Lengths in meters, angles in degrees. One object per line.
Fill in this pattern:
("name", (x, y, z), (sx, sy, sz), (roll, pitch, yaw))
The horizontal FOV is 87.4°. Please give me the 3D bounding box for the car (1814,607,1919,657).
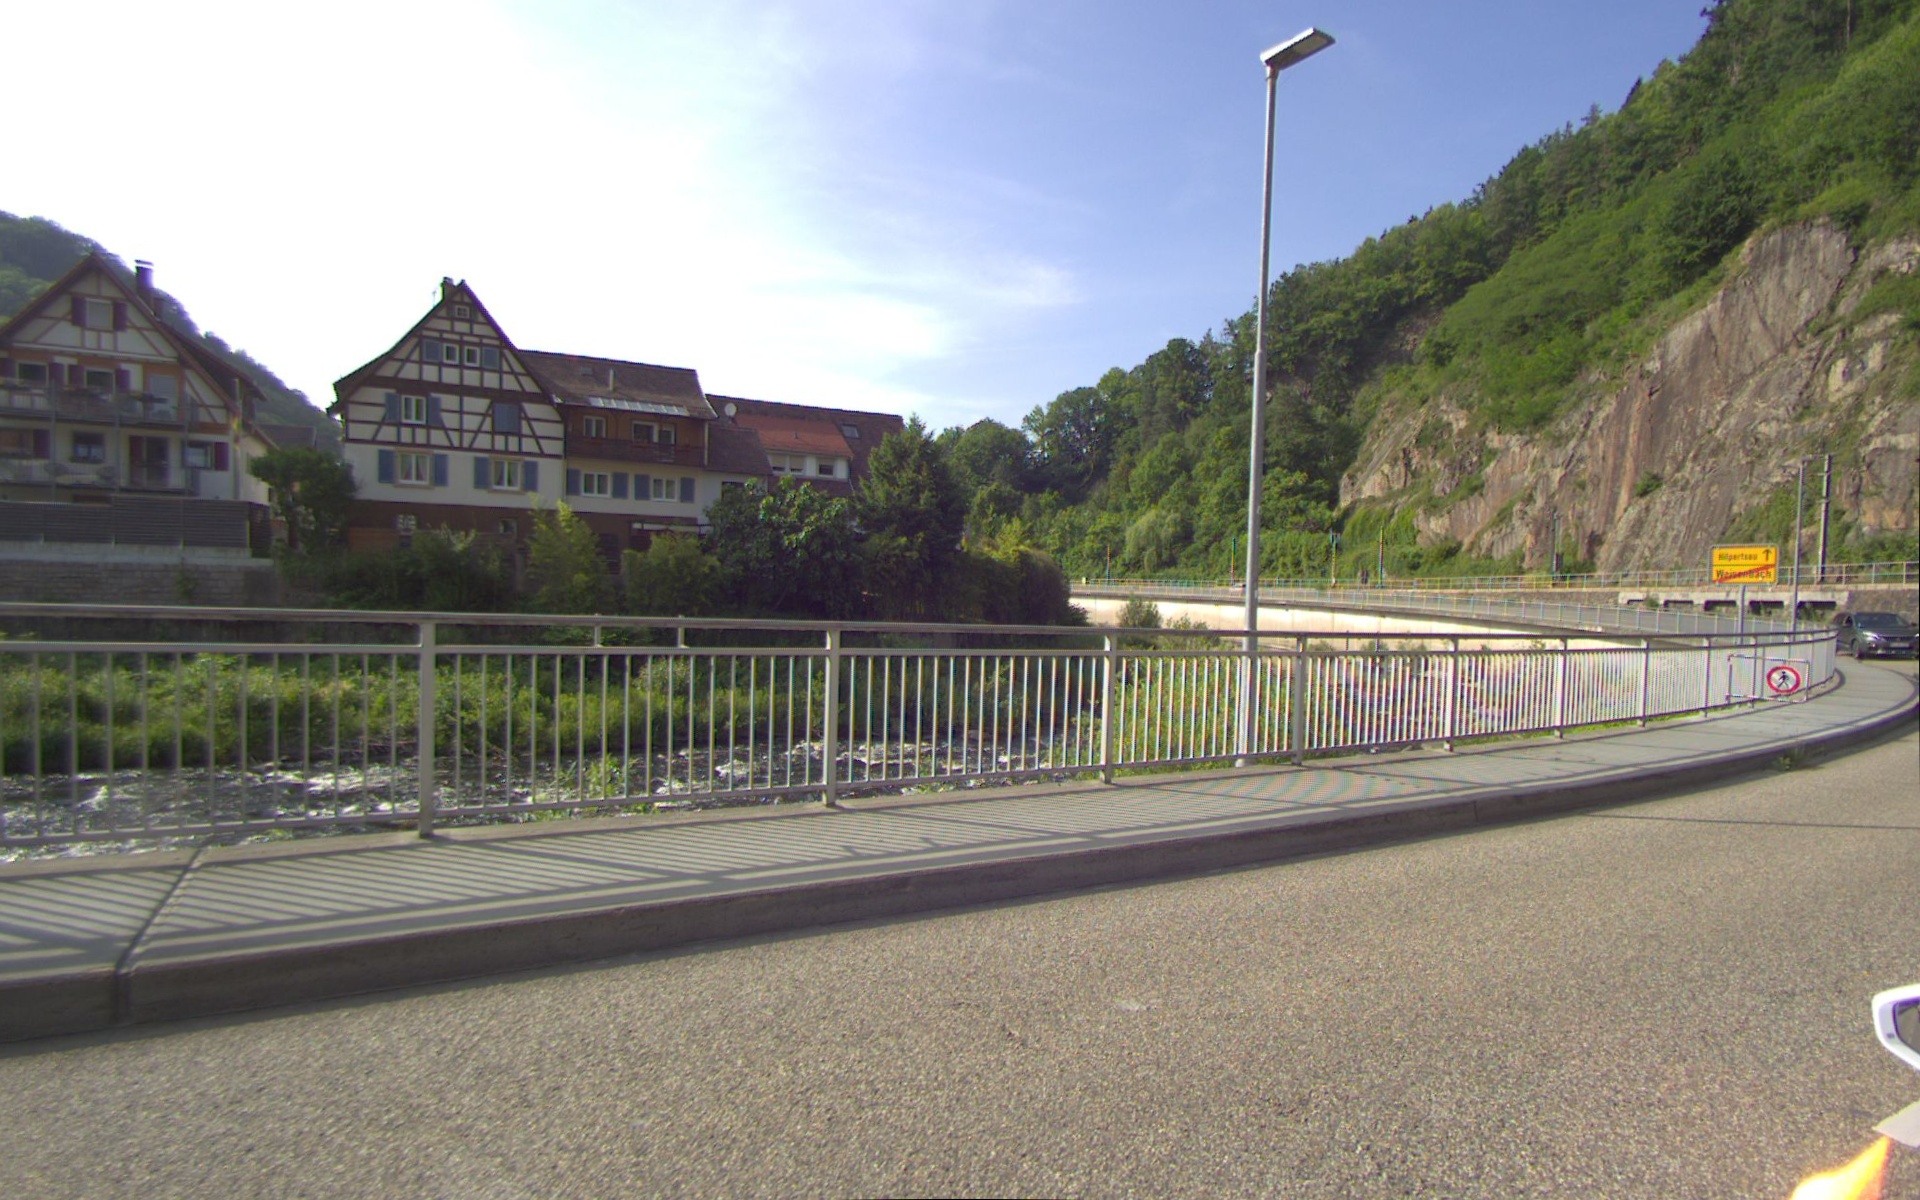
("car", (32.511, 1.108, 35.973), (1.786, 1.665, 3.998), (-2, -1, 23))
